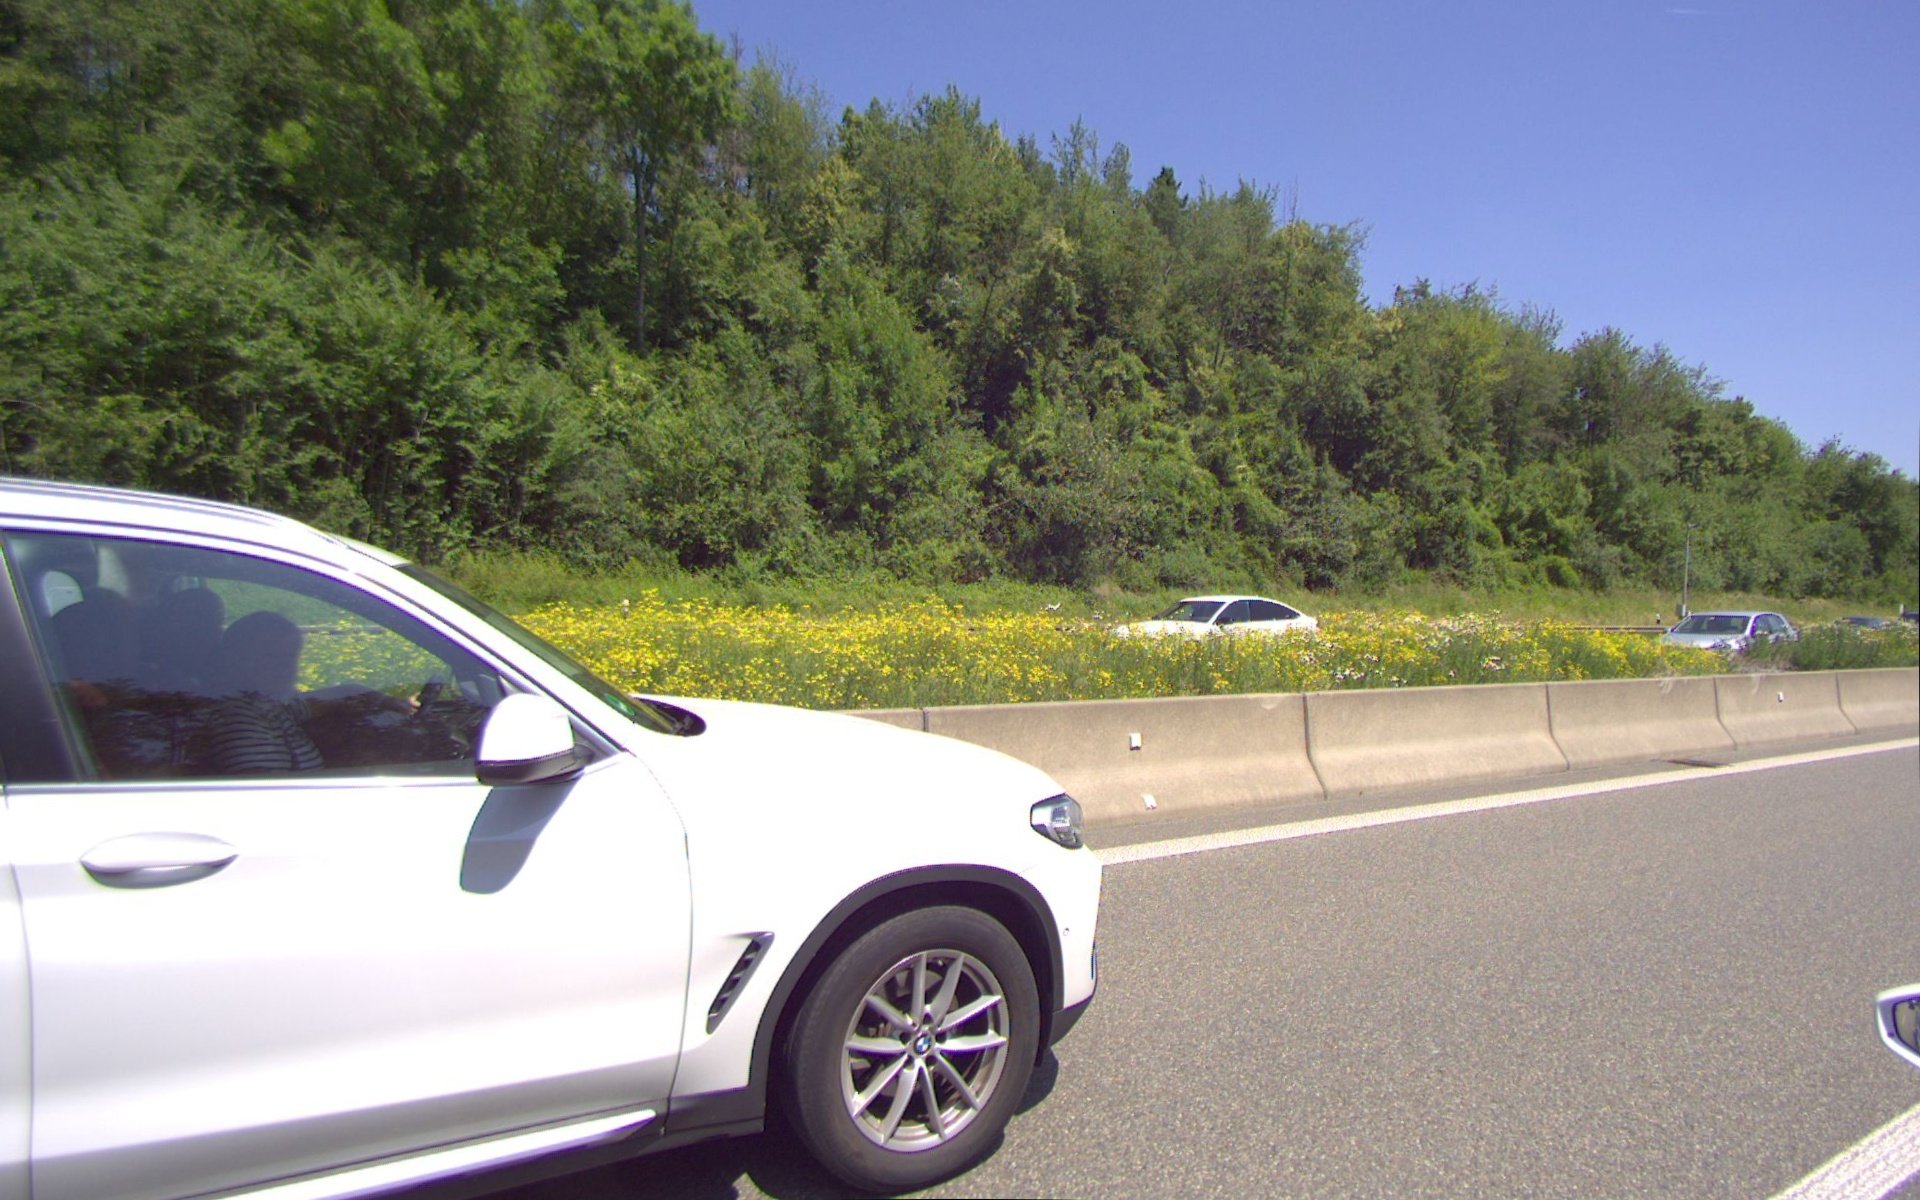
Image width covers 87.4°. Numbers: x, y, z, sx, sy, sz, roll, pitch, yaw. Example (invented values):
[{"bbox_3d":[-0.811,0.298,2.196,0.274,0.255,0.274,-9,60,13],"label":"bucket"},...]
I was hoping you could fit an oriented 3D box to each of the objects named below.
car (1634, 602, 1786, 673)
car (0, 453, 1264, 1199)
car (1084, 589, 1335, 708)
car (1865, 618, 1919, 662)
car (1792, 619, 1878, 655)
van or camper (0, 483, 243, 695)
[{"bbox_3d":[16.760,0.846,22.419,3.523,1.461,1.470,2,-1,-31],"label":"car"},{"bbox_3d":[-1.667,0.634,2.568,4.898,1.717,1.855,1,0,-30],"label":"car"},{"bbox_3d":[4.822,0.909,19.269,4.512,2.040,1.985,2,-1,-29],"label":"car"},{"bbox_3d":[36.695,1.552,38.434,4.115,1.611,1.983,2,-1,-31],"label":"car"},{"bbox_3d":[39.361,1.659,45.175,3.954,1.476,1.779,2,-1,-31],"label":"car"},{"bbox_3d":[-13.354,-0.177,12.555,6.850,2.594,2.176,2,-1,-30],"label":"van or camper"}]
